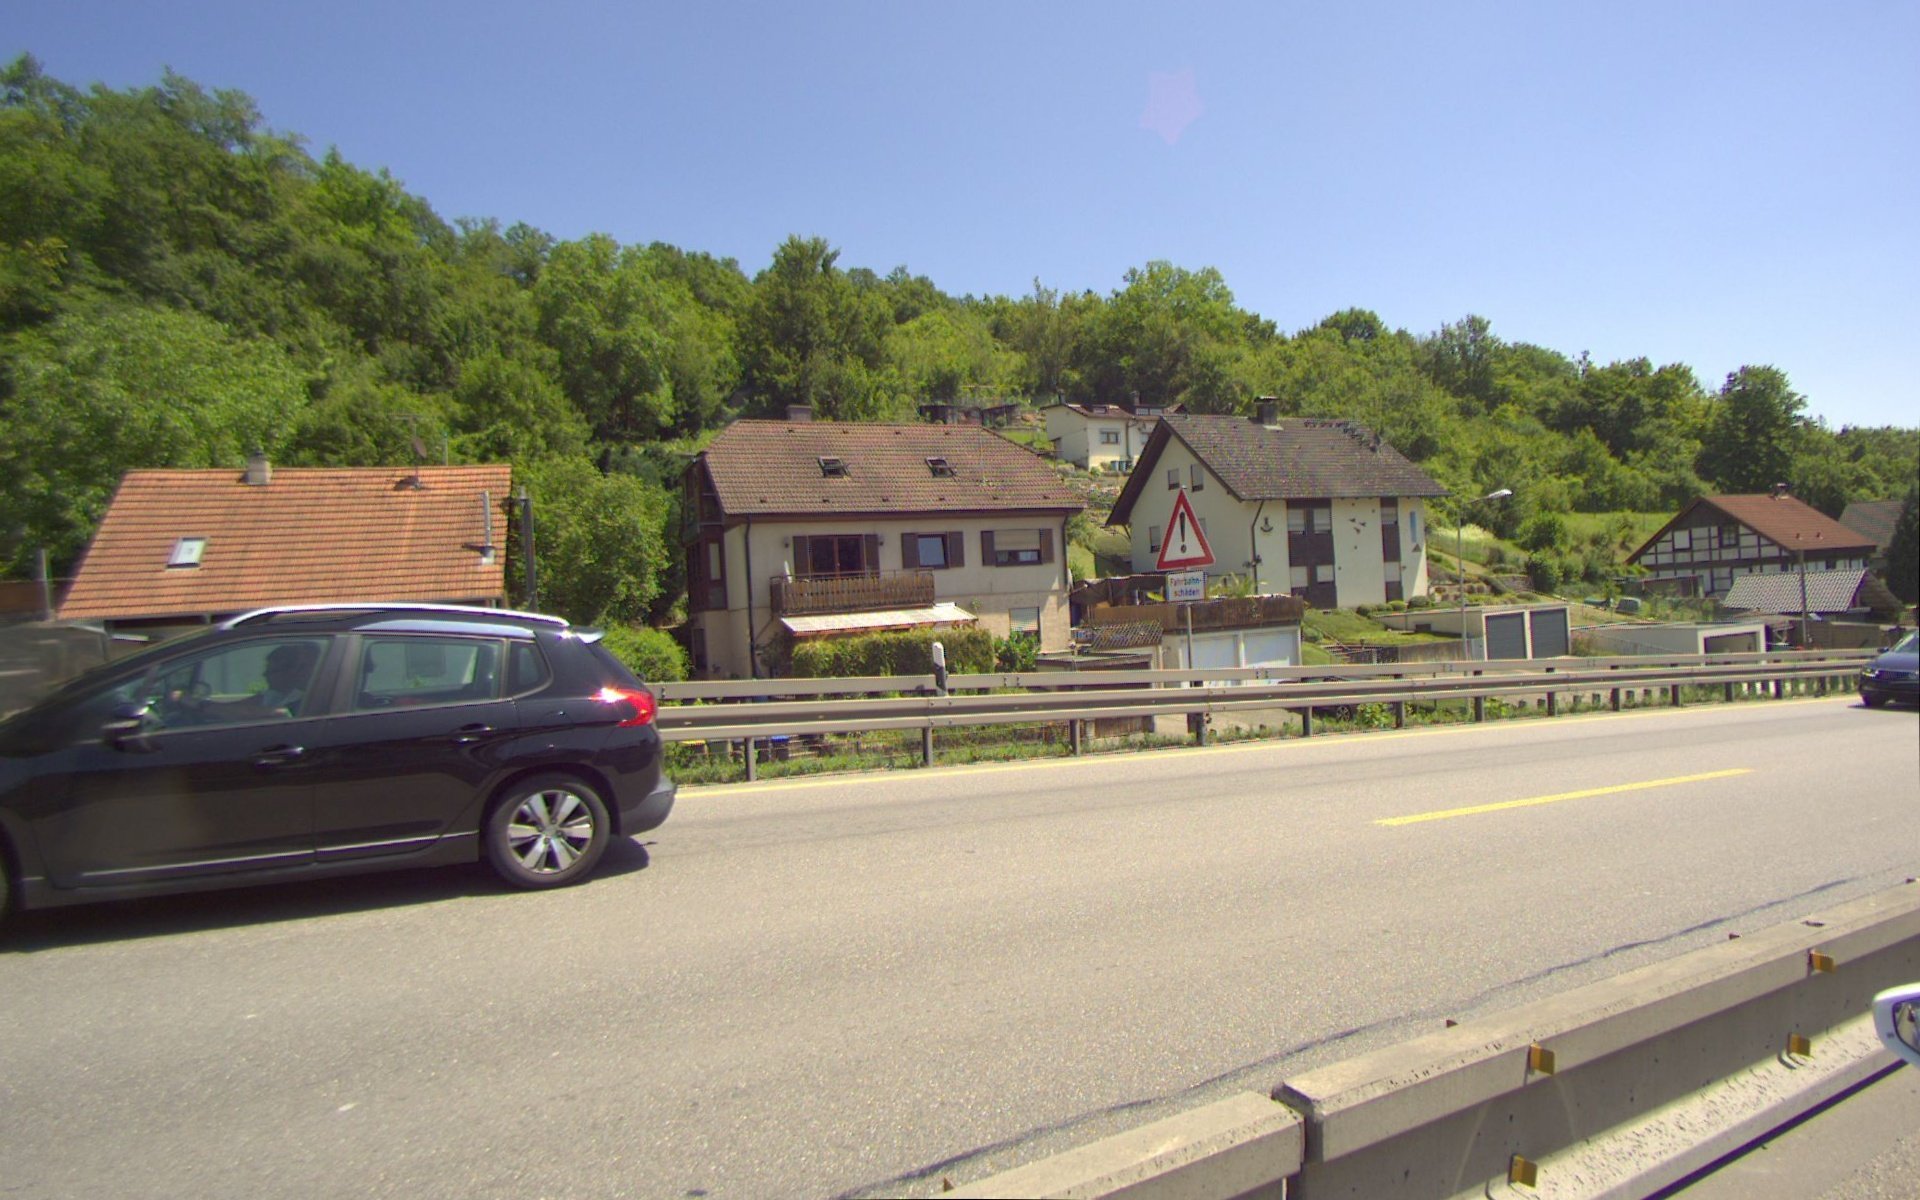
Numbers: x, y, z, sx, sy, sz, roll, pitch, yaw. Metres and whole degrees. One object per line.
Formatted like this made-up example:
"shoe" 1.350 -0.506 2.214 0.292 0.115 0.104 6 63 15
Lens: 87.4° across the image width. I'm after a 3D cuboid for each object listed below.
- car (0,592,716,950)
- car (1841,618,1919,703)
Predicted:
"car" -3.546 0.729 5.573 3.953 1.509 1.724 -1 0 -30
"car" 18.160 1.096 18.282 4.632 1.436 1.833 2 -2 -30
